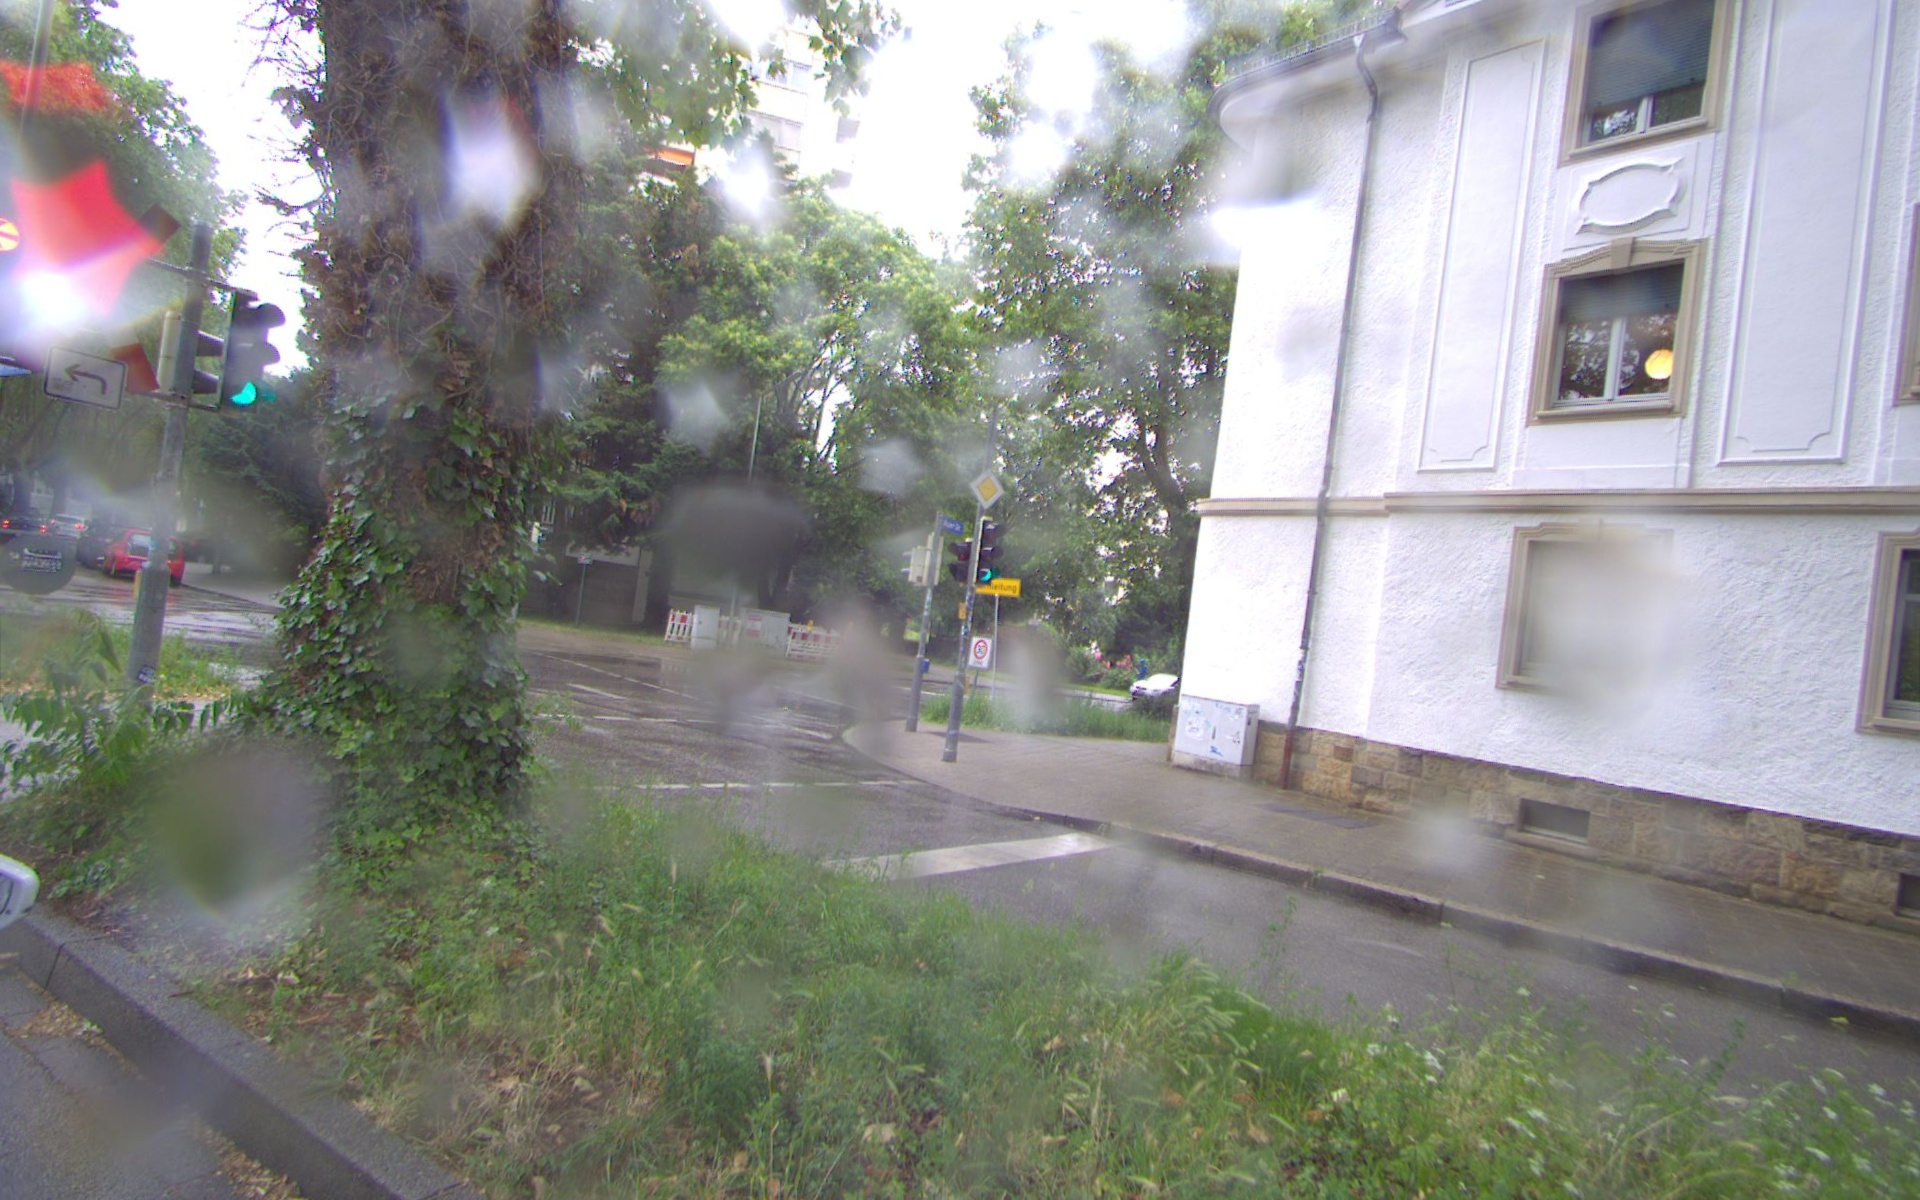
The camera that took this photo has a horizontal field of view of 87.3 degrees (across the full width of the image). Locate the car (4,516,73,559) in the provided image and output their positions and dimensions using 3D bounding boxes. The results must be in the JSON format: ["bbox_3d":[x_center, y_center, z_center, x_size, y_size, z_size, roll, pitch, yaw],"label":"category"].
[{"bbox_3d":[-39.243,-2.643,42.922,1.673,1.491,3.626,8,-2,-37],"label":"car"}]

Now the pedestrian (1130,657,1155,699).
[{"bbox_3d":[8.626,3.681,47.590,0.670,1.863,0.713,6,-1,44],"label":"pedestrian"}]

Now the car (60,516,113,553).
[{"bbox_3d":[-48.016,-3.567,55.367,1.766,1.697,3.960,8,-2,-37],"label":"car"}]

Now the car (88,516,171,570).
[{"bbox_3d":[-28.101,-1.939,34.007,1.780,1.363,3.879,10,-2,-44],"label":"car"}]

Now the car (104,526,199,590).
[{"bbox_3d":[-24.835,-1.310,30.851,1.788,1.515,3.950,10,-2,-44],"label":"car"}]

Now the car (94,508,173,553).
[{"bbox_3d":[-69.653,-5.850,84.820,4.683,2.982,2.001,7,-1,1],"label":"car"}]

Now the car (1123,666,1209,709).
[{"bbox_3d":[9.407,3.999,45.814,1.829,1.473,3.979,6,-3,45],"label":"car"}]

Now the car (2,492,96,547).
[{"bbox_3d":[-61.115,-5.398,67.539,4.680,2.982,2.043,7,-1,12],"label":"car"}]

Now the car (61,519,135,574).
[{"bbox_3d":[-32.987,-2.081,38.462,1.779,1.747,3.951,9,-2,-44],"label":"car"}]
